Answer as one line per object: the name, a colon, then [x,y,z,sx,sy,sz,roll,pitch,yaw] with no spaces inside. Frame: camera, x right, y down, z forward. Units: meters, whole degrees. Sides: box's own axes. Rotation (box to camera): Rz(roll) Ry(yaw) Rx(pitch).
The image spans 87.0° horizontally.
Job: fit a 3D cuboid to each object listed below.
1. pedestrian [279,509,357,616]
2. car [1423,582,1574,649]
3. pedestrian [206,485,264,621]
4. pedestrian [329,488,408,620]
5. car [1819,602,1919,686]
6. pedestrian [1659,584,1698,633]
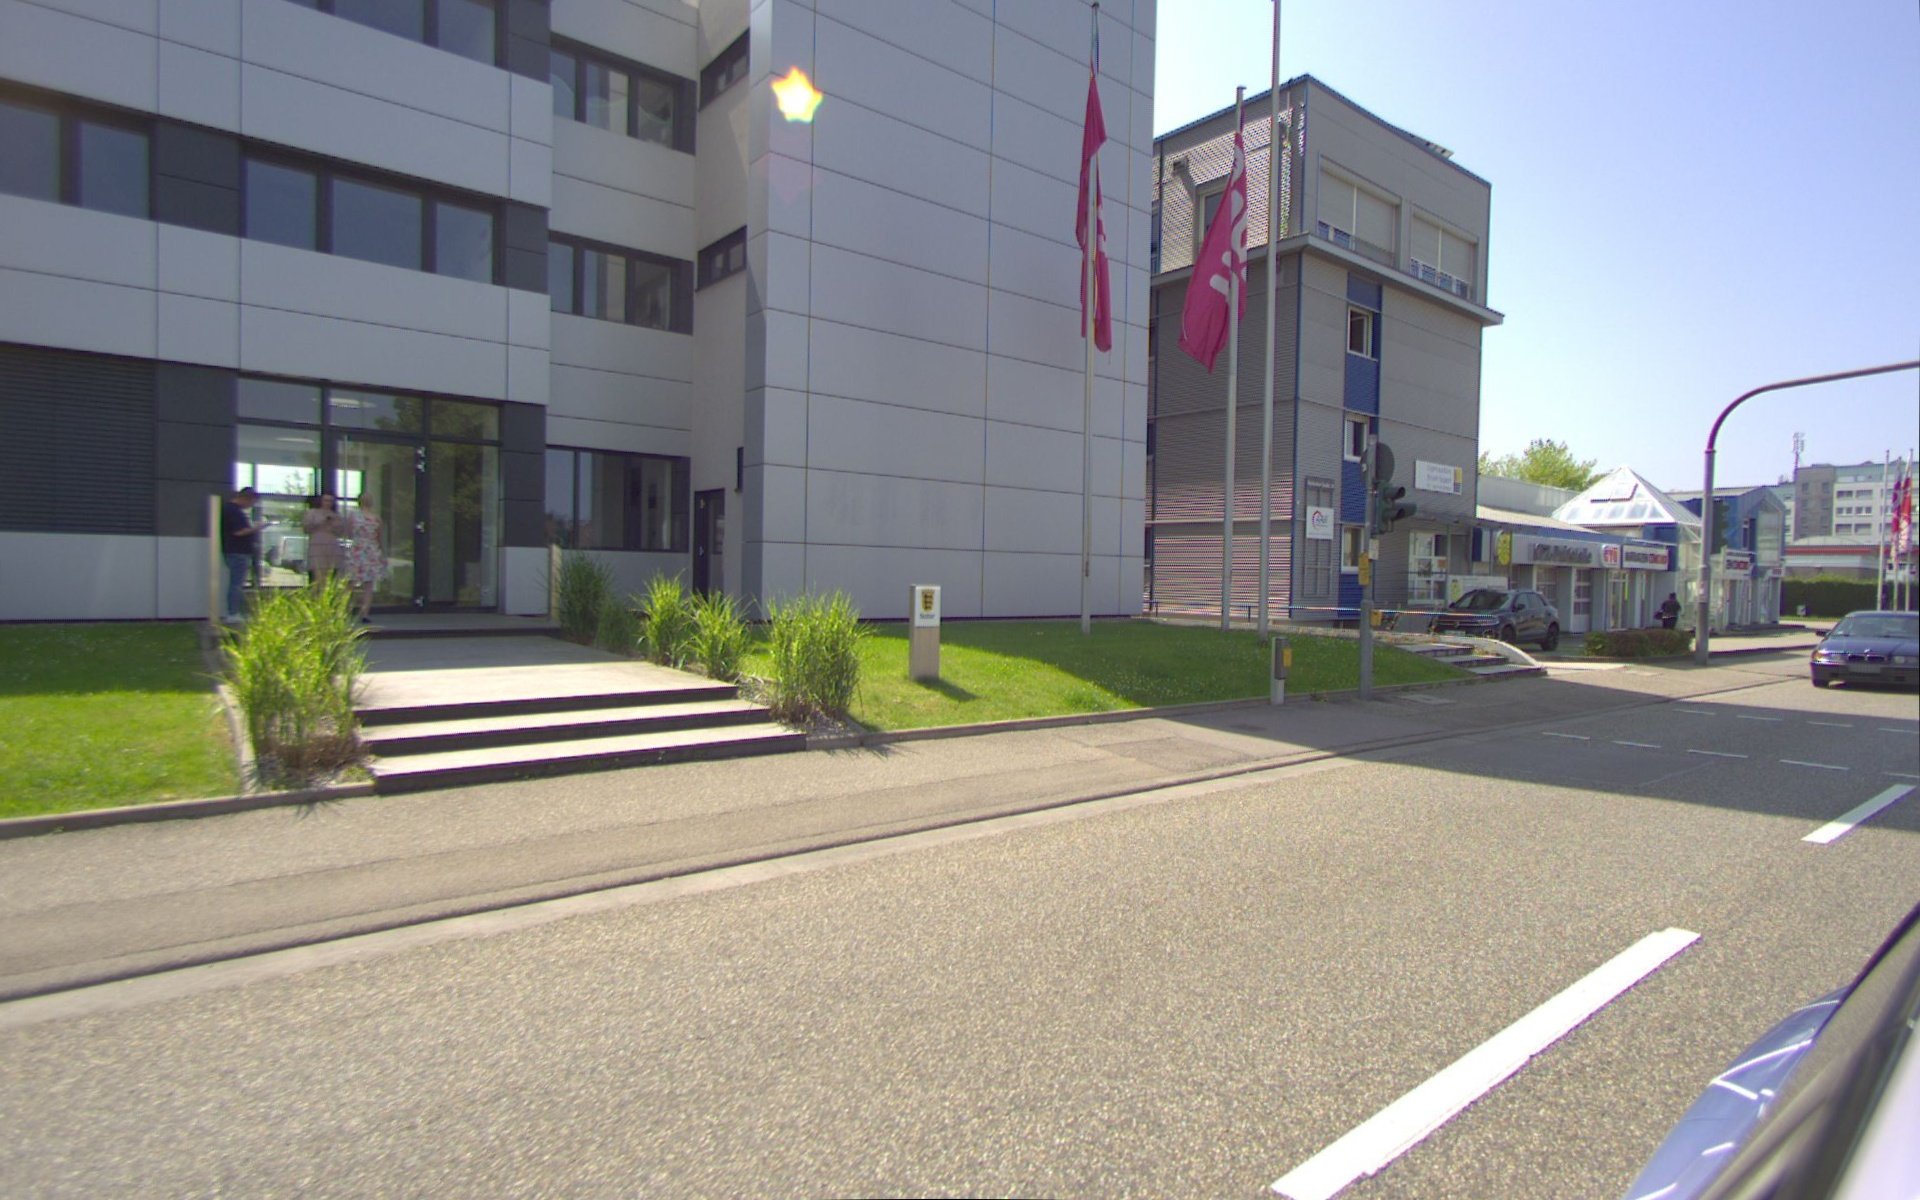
pedestrian: [-8.861,-0.511,13.976,0.521,1.423,0.787,3,2,41]
car: [13.445,0.343,25.186,4.120,1.550,1.848,0,0,-38]
pedestrian: [-9.045,-0.578,12.639,0.513,1.654,0.595,1,2,-30]
pedestrian: [-7.823,-0.603,13.392,0.520,1.683,0.748,2,2,34]
car: [16.902,0.733,18.137,3.688,1.356,1.632,0,0,-39]
pedestrian: [24.921,0.283,35.110,0.836,1.647,0.813,1,2,-35]
